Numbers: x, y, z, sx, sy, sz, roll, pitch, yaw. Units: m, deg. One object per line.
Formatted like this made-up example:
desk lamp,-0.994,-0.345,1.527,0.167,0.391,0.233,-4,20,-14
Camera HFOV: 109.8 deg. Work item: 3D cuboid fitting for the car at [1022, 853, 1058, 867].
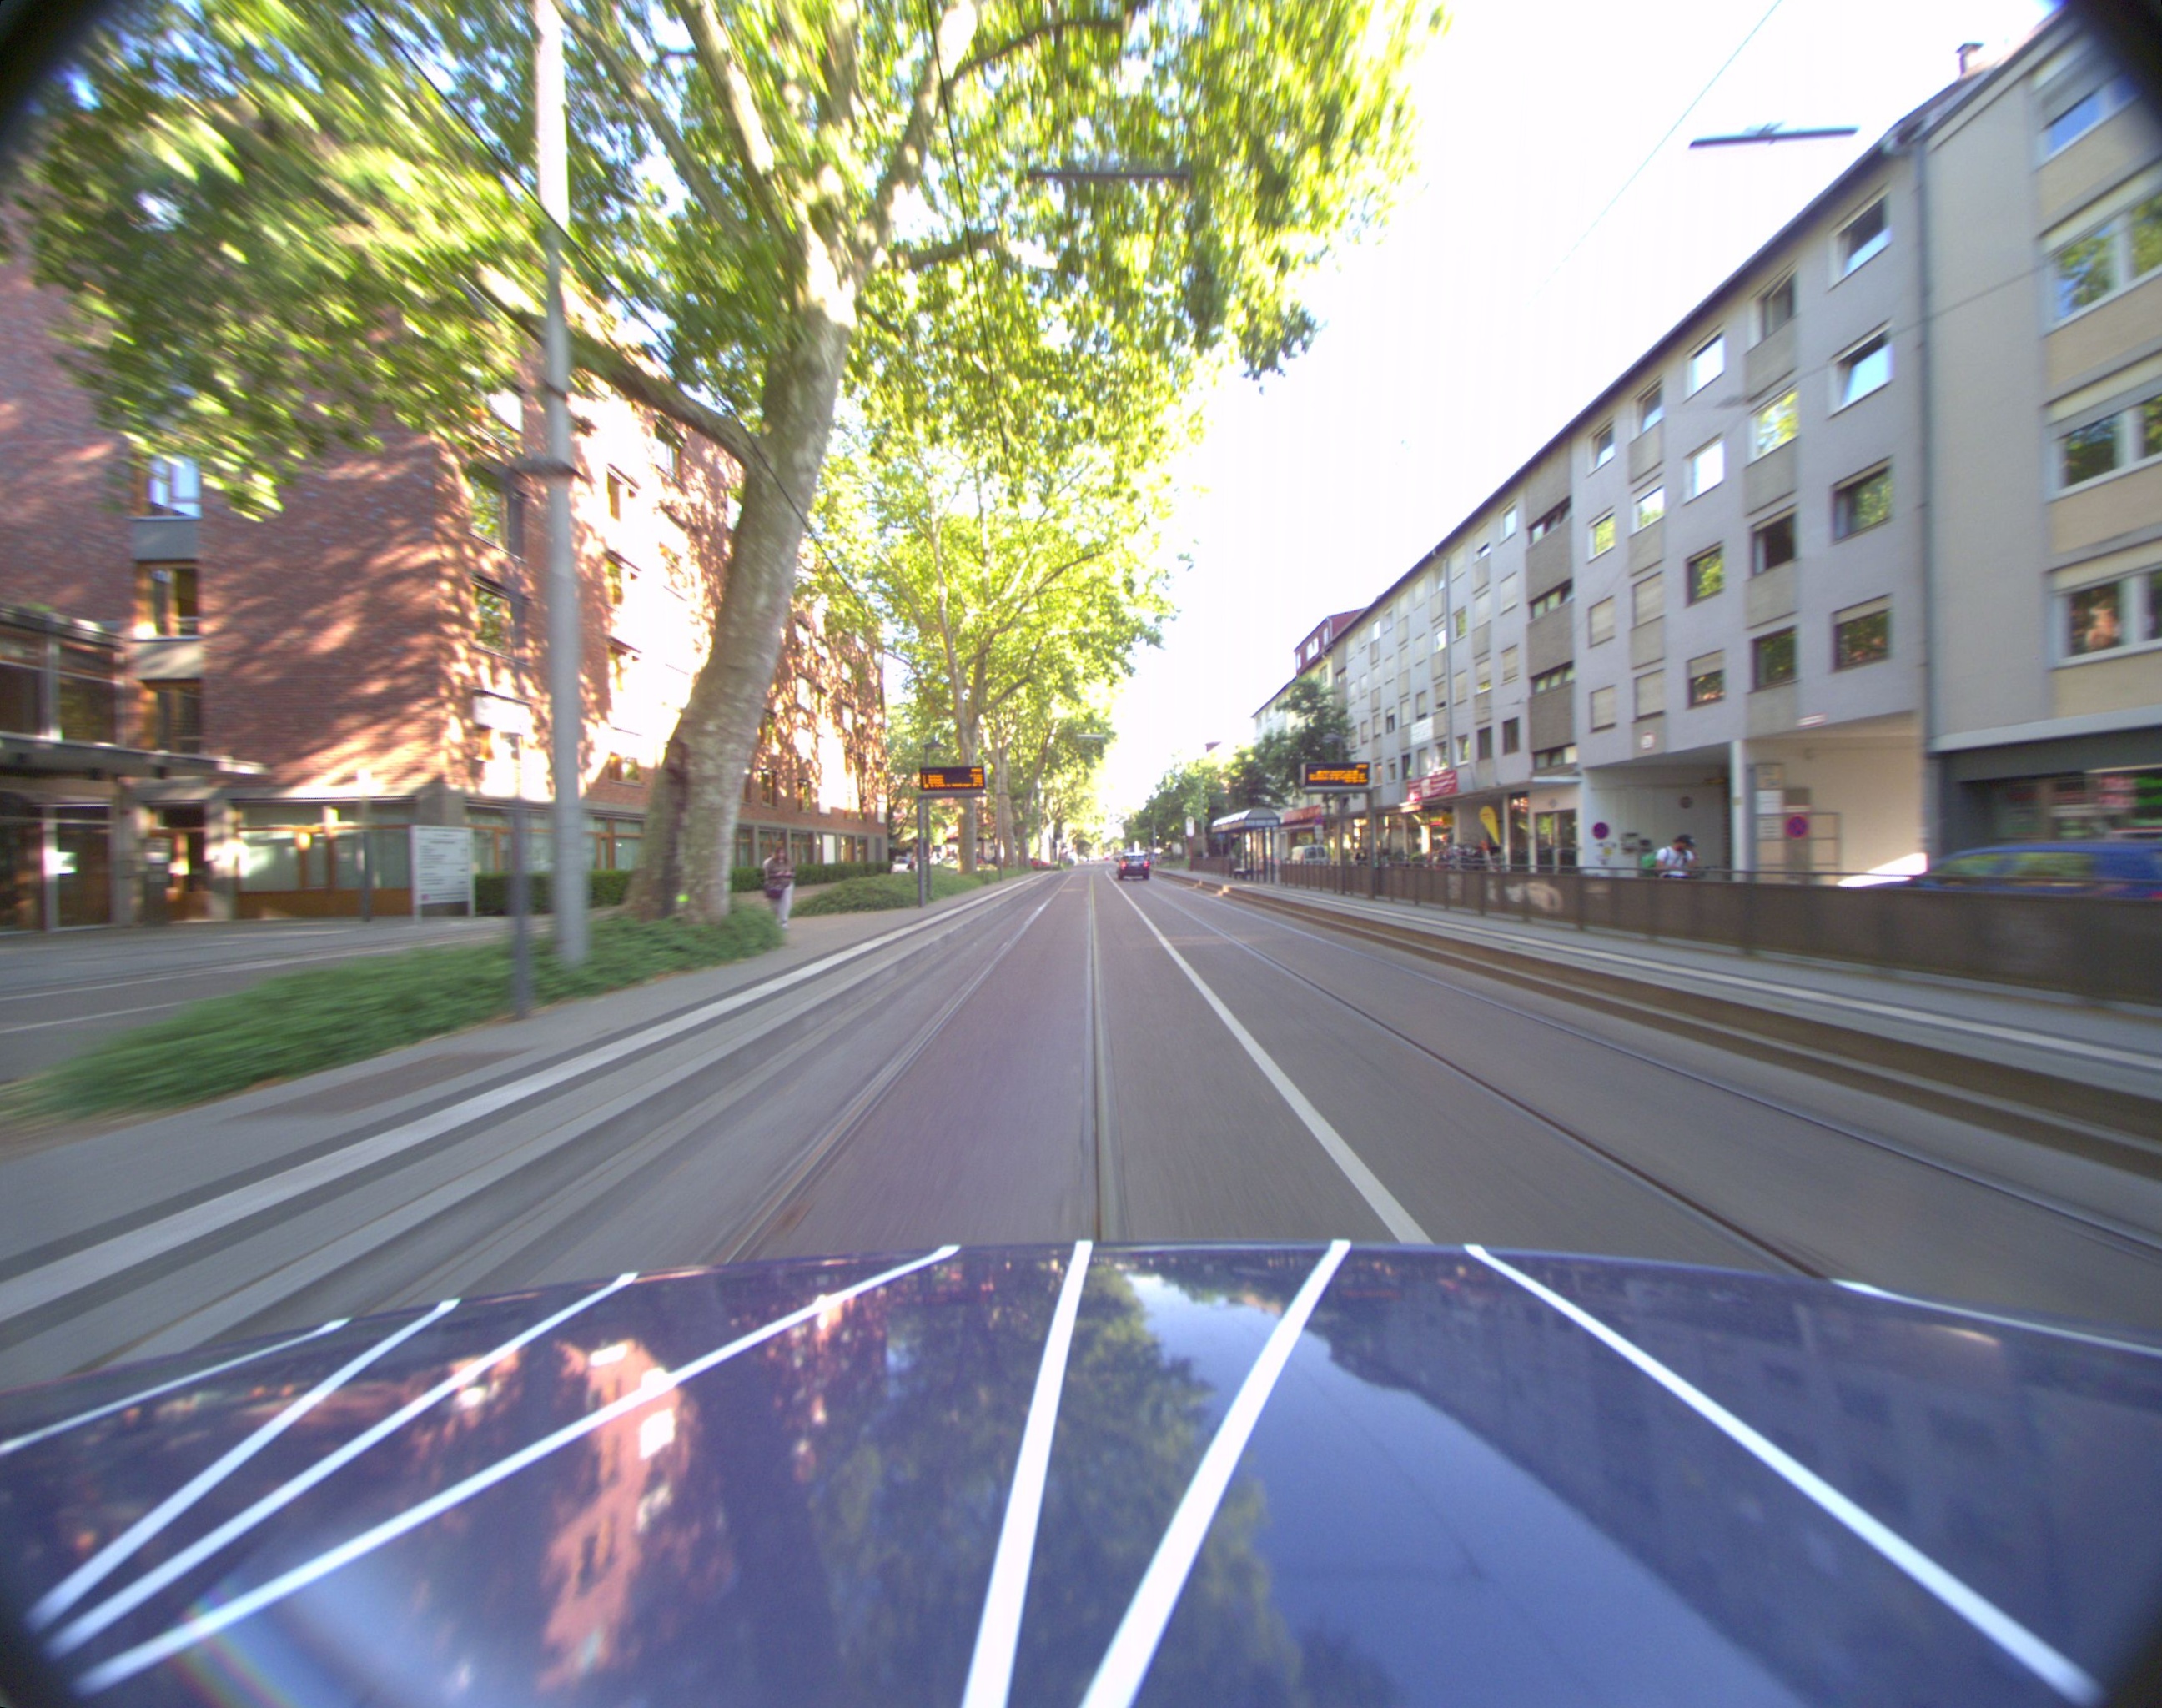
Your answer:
car,-4.615,0.686,85.321,3.872,1.521,2.000,-1,0,2

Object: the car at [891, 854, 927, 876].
car,-12.563,0.783,55.822,1.657,1.499,3.961,-1,0,1

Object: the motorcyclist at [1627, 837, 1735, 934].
motorcyclist,9.291,0.466,11.803,0.875,1.432,1.016,-1,1,0

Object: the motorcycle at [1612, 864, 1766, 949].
motorcycle,9.308,0.759,11.754,0.851,1.157,1.915,-1,0,0

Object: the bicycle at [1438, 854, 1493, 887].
bicycle,13.710,0.571,27.159,0.561,1.150,2.028,-1,0,-15

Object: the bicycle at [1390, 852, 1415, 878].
bicycle,14.404,0.483,34.103,0.513,1.150,1.688,-1,0,4

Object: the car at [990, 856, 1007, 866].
car,-13.490,1.082,124.404,1.998,1.521,3.678,-1,0,3

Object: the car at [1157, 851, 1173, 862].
car,11.890,0.297,107.921,1.998,1.521,3.678,-1,0,3

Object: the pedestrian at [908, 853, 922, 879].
pedestrian,-10.765,0.790,49.248,0.710,1.681,0.748,-1,1,-1

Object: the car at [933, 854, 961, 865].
car,-19.284,0.820,109.568,3.674,1.521,2.000,-1,0,2

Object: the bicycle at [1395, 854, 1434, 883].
bicycle,13.866,0.586,31.611,0.572,1.150,2.036,-1,0,-5

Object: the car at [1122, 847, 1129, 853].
car,12.719,-1.054,217.221,1.998,1.741,3.677,-1,0,0

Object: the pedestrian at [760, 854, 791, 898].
pedestrian,-11.743,0.817,29.208,0.768,1.650,0.917,-1,1,1

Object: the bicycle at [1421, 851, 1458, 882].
bicycle,13.981,0.463,29.679,0.494,1.150,1.751,-1,0,-5

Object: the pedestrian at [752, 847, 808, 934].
pedestrian,-5.924,0.689,14.939,0.770,1.650,0.914,-1,1,-38

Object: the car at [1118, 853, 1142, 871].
car,4.036,0.624,62.596,1.766,1.417,4.000,-1,0,1

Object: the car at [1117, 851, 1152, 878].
car,3.252,0.601,46.622,1.766,1.579,3.999,-1,0,-1

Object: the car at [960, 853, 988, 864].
car,-15.380,0.675,109.488,3.674,1.521,2.000,-1,0,2

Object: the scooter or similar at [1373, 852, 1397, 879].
scooter or similar,13.414,0.513,33.559,0.446,1.167,1.274,-1,0,-4

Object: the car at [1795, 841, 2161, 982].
car,12.087,0.587,9.790,1.799,1.455,4.282,0,0,1

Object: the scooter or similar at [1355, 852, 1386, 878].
scooter or similar,13.292,0.512,34.879,0.447,1.167,1.272,-1,1,-36

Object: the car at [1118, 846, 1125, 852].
car,12.452,-1.433,235.588,1.998,1.741,3.677,-1,0,0

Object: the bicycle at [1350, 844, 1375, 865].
bicycle,16.464,0.021,44.497,0.572,1.150,2.036,-1,0,-5

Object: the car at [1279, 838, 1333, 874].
car,12.719,0.115,43.186,1.808,1.923,4.049,-1,0,-1

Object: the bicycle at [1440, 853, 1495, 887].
bicycle,13.960,0.556,27.526,0.561,1.150,2.028,-1,0,-15

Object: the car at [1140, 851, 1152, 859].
car,12.185,0.183,142.752,1.998,1.521,3.678,-1,0,3
